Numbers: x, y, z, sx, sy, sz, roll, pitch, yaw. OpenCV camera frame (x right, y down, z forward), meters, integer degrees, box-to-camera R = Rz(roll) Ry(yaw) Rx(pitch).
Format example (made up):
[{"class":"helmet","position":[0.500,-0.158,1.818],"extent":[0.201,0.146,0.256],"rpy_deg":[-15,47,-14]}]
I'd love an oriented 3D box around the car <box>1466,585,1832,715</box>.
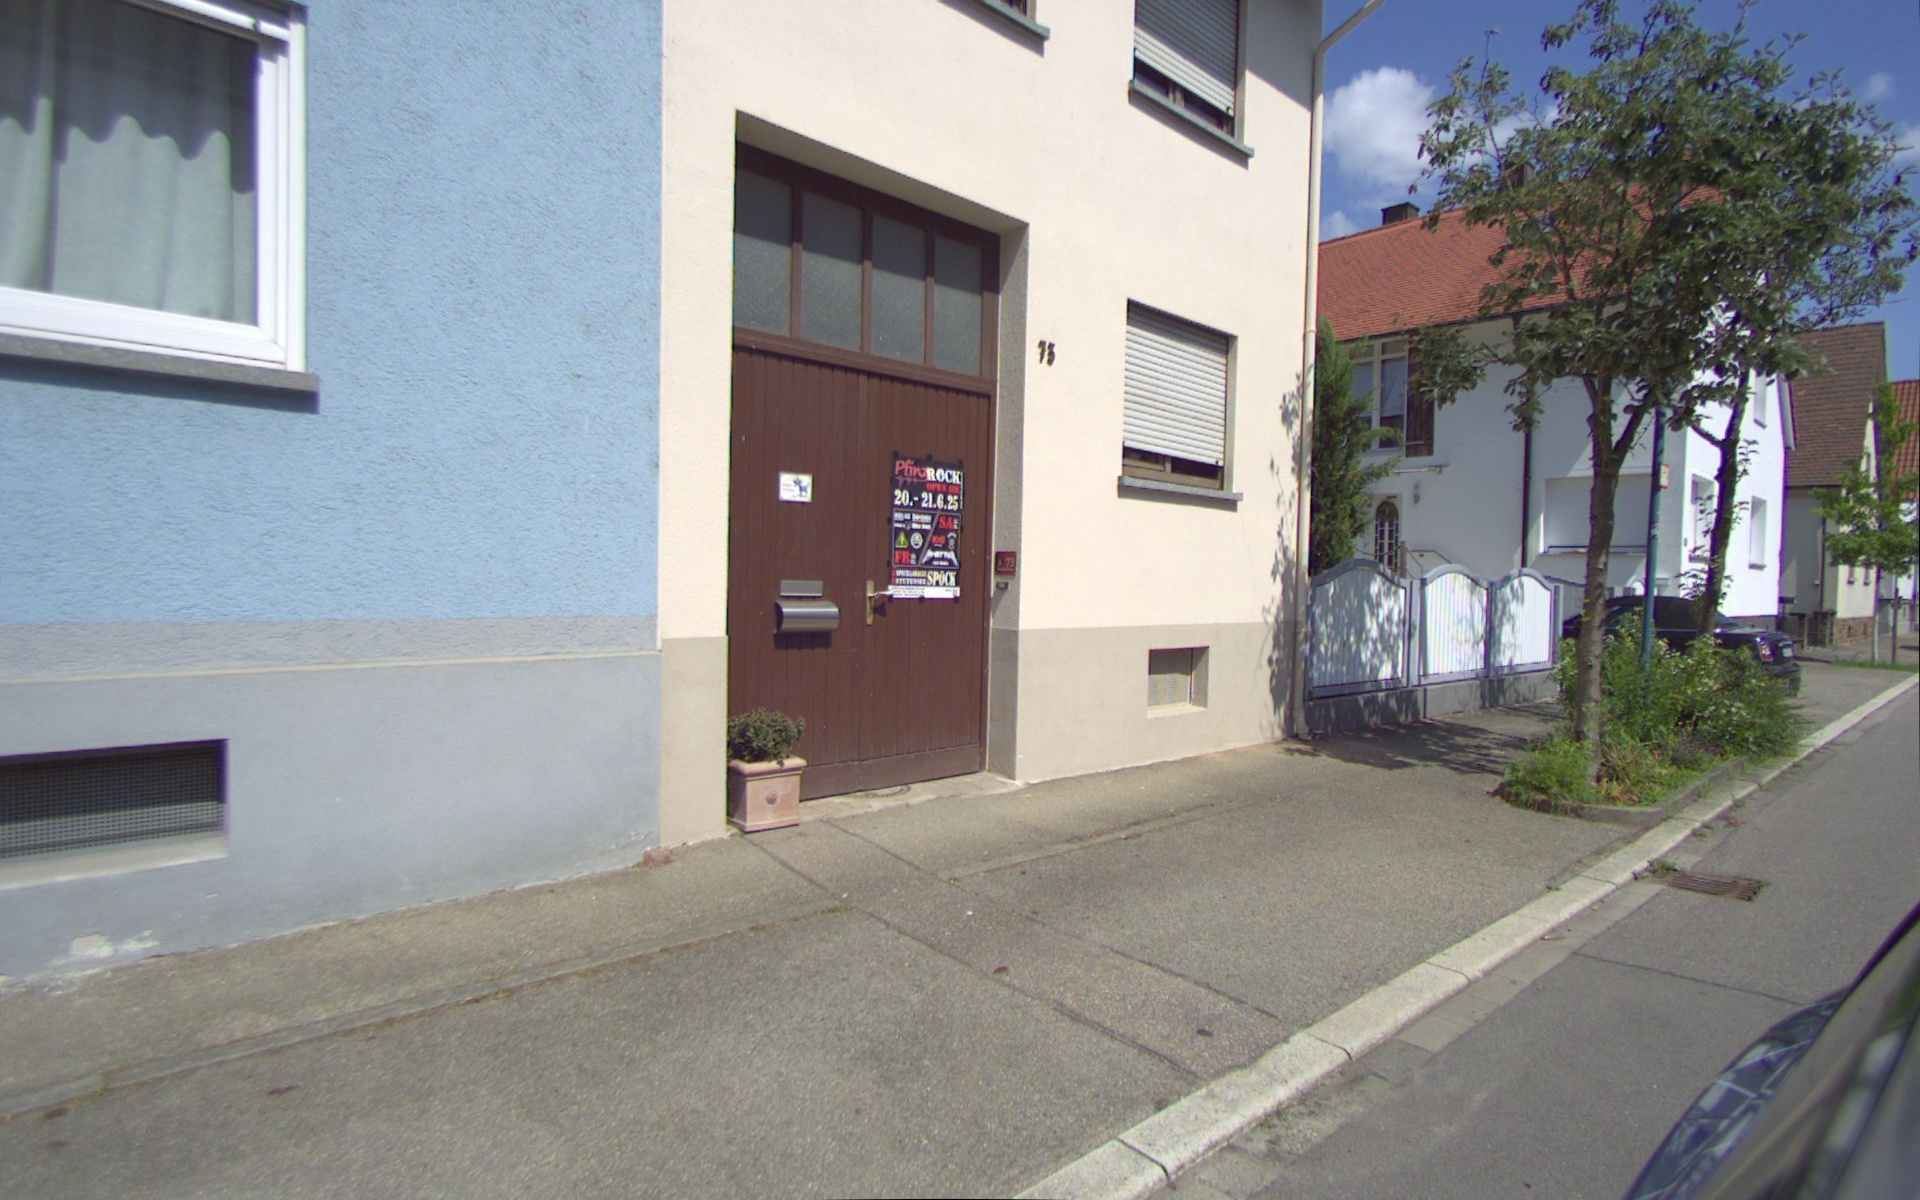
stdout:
[{"class":"car","position":[9.268,0.559,13.878],"extent":[1.696,1.446,3.816],"rpy_deg":[0,2,-38]}]
